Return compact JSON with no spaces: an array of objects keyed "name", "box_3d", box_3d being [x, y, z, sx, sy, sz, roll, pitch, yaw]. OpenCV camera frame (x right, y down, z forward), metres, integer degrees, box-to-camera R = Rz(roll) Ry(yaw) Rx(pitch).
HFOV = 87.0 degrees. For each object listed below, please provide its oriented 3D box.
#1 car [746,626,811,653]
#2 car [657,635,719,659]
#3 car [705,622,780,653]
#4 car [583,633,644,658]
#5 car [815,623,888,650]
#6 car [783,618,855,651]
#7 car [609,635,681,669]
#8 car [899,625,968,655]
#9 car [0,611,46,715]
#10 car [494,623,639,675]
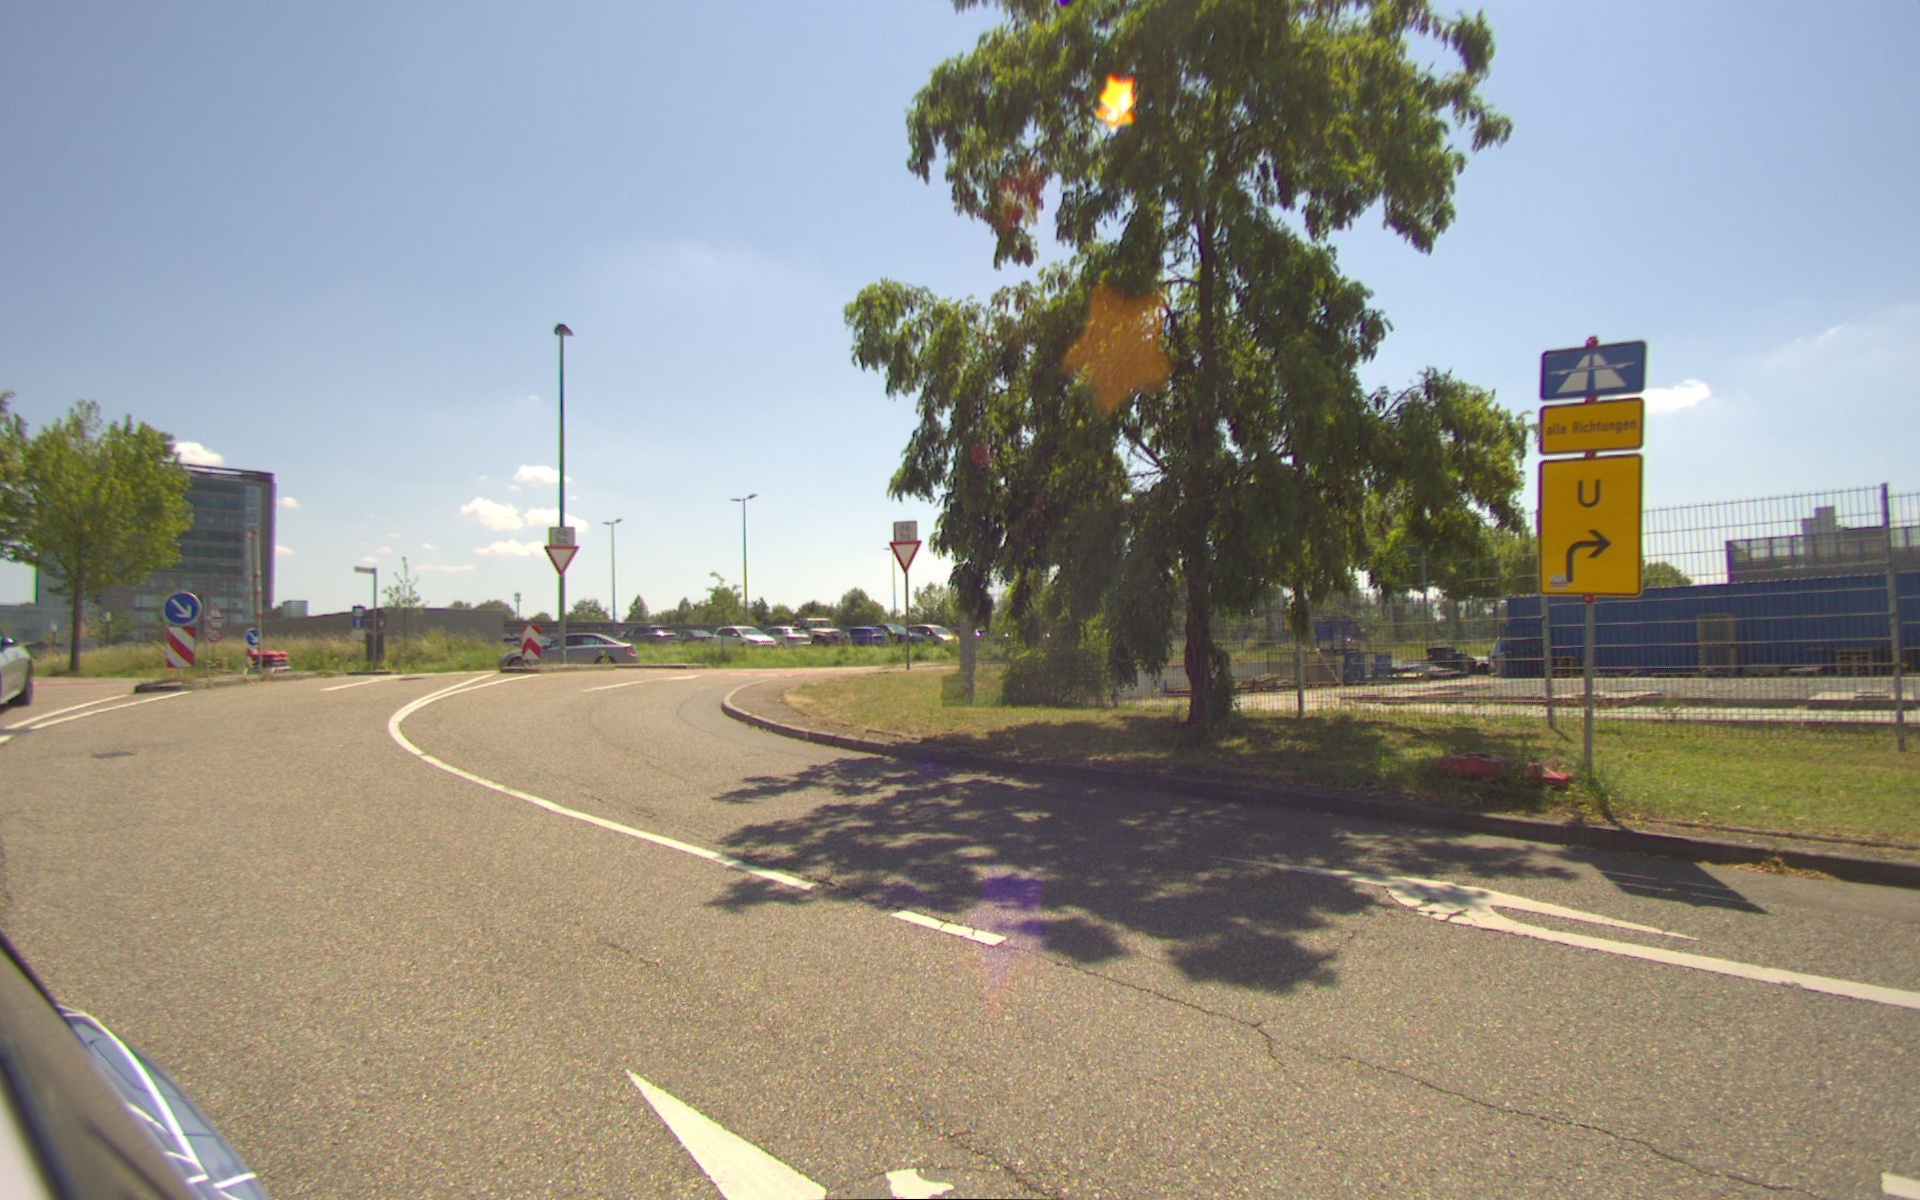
[{"name":"car","box_3d":[-9.076,1.982,50.601,3.270,1.191,1.480,-5,-3,42]},{"name":"car","box_3d":[-15.705,2.715,58.342,3.847,1.373,1.630,-3,-3,41]},{"name":"car","box_3d":[-10.460,1.799,48.585,3.878,1.307,1.552,-5,-3,44]},{"name":"car","box_3d":[-20.785,2.738,60.664,3.631,1.457,1.633,-3,-4,35]},{"name":"car","box_3d":[-5.827,1.960,54.267,3.943,1.267,1.565,-5,-3,40]},{"name":"car","box_3d":[-7.355,1.796,52.540,1.848,1.539,3.752,-1,-3,-43]},{"name":"car","box_3d":[-17.734,2.964,56.831,4.602,1.703,1.753,-5,-6,41]},{"name":"car","box_3d":[-1.520,2.321,57.939,3.846,1.636,1.595,-3,-3,40]},{"name":"car","box_3d":[-14.508,0.913,14.157,1.867,1.393,4.646,-2,1,-34]},{"name":"car","box_3d":[-13.208,1.653,34.232,4.420,1.385,1.678,-3,-5,-17]}]
